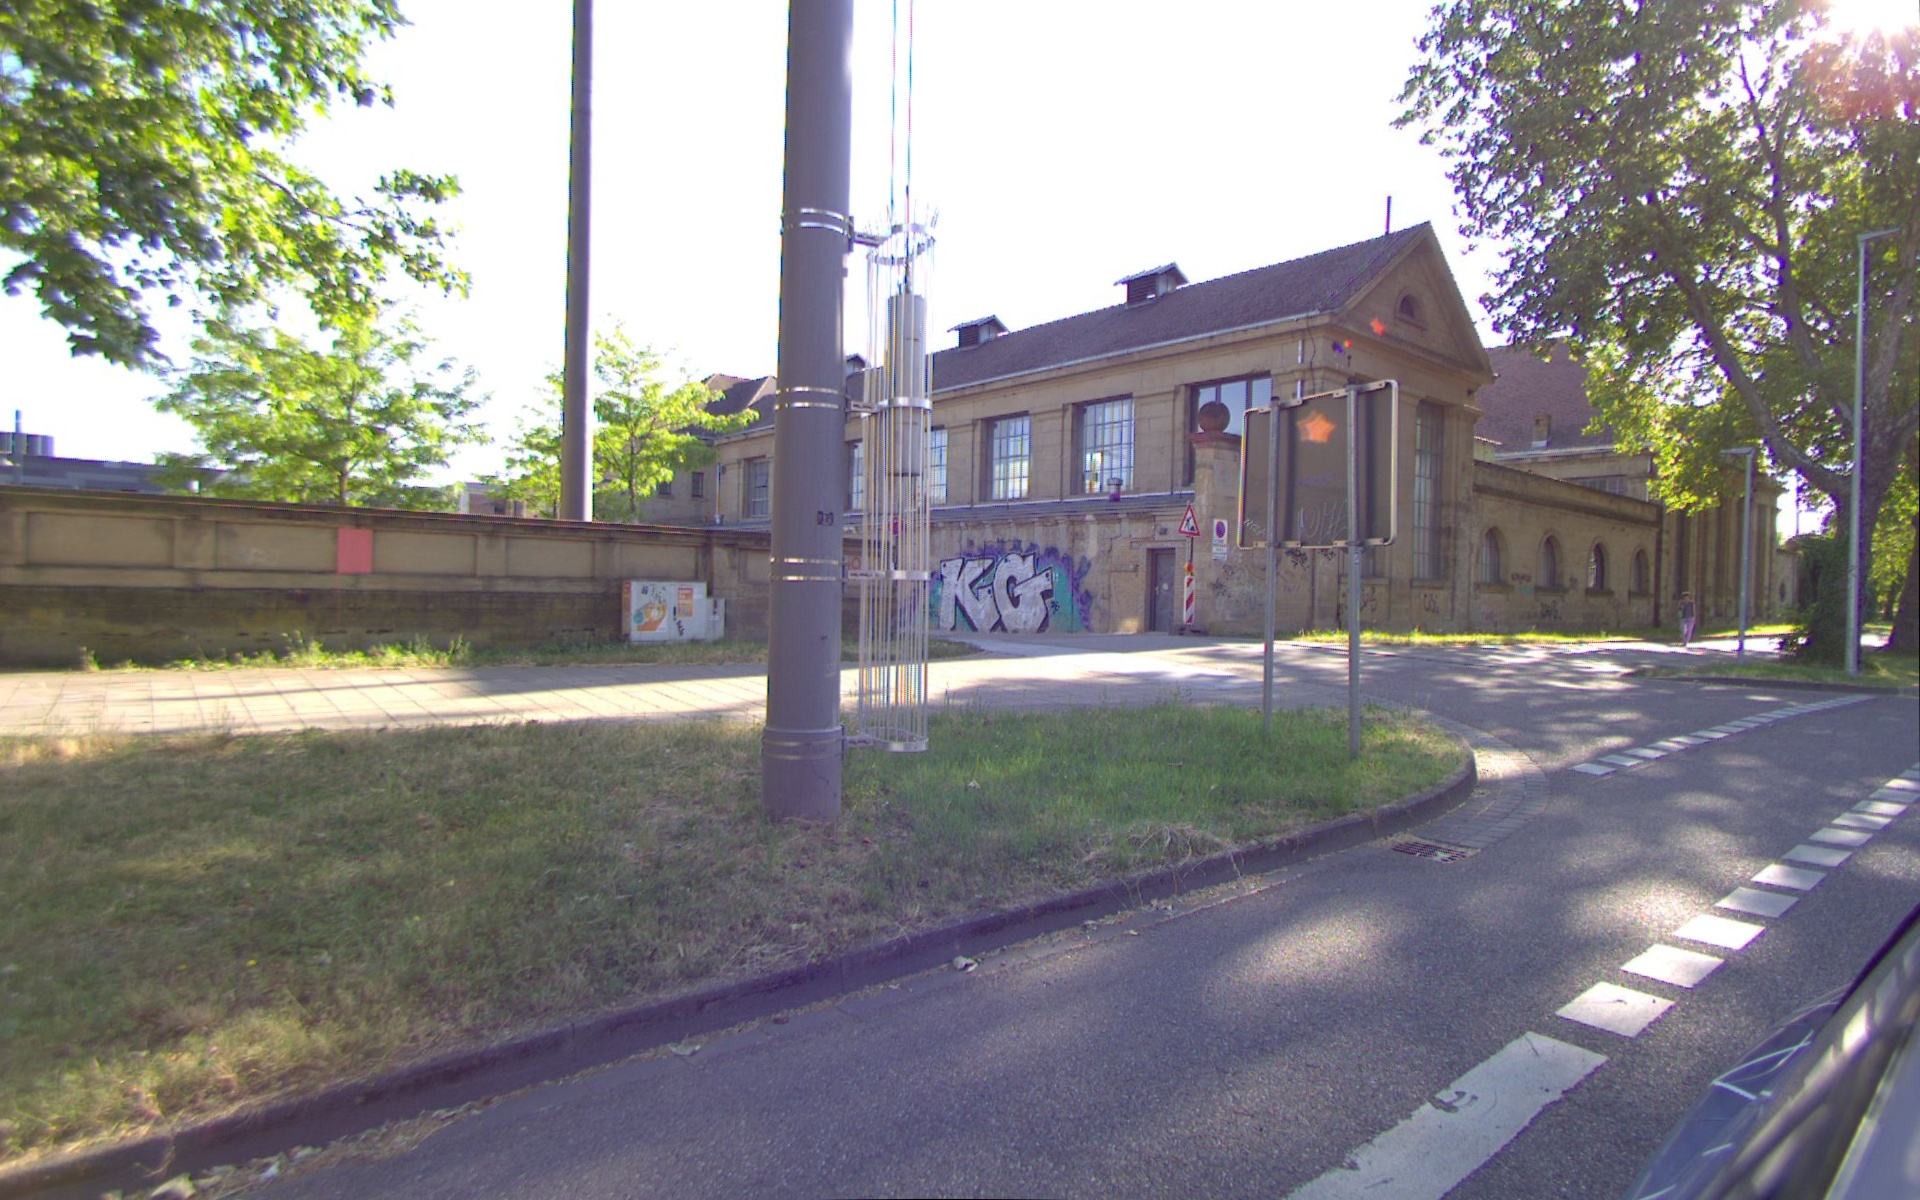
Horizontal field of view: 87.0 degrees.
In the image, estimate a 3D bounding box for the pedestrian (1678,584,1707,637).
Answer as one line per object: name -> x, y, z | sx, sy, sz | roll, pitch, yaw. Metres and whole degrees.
pedestrian -> 24.083, 0.347, 33.272 | 0.668, 1.683, 0.863 | 3, 2, 35
